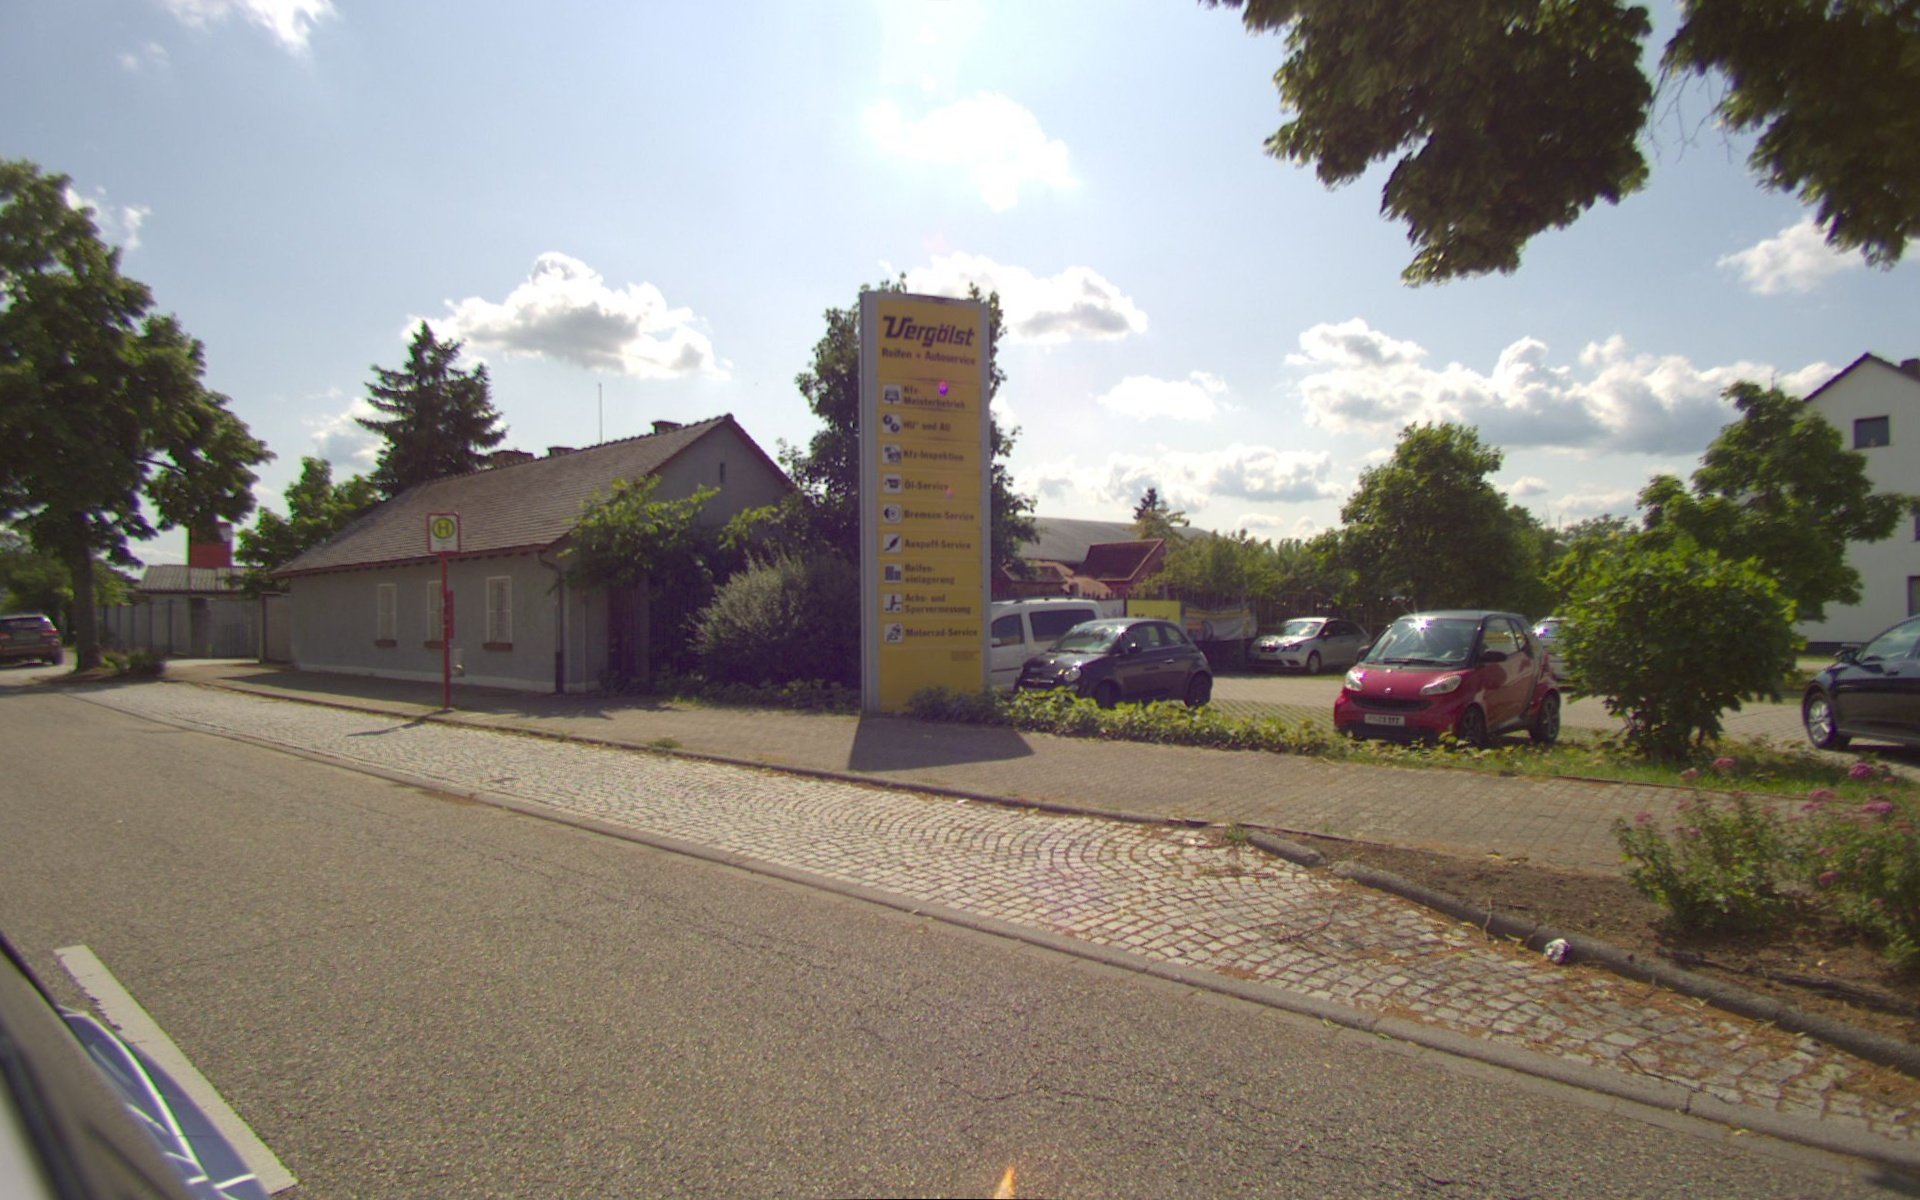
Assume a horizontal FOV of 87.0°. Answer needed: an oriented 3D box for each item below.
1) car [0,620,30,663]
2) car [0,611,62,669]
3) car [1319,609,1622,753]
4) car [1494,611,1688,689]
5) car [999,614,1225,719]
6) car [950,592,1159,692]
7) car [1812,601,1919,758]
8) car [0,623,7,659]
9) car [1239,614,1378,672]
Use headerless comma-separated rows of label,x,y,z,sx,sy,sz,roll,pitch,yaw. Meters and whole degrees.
car,-36.678,1.584,38.189,4.738,1.529,1.716,-2,1,40
car,-32.372,1.311,34.690,4.785,1.836,1.898,-1,1,43
car,6.147,0.844,12.055,3.787,1.433,1.734,0,-1,-37
car,12.770,0.950,20.426,3.934,1.401,1.931,0,-1,-35
car,2.418,0.952,15.779,3.365,1.433,1.665,0,-1,-40
car,1.827,0.724,19.028,3.719,1.684,1.794,0,-1,-40
car,9.404,0.695,8.795,1.866,1.388,3.773,-1,-2,21
car,-40.906,1.751,41.843,4.023,1.459,1.612,-1,3,39
car,8.993,1.065,26.015,3.628,1.336,1.708,0,-1,-40
